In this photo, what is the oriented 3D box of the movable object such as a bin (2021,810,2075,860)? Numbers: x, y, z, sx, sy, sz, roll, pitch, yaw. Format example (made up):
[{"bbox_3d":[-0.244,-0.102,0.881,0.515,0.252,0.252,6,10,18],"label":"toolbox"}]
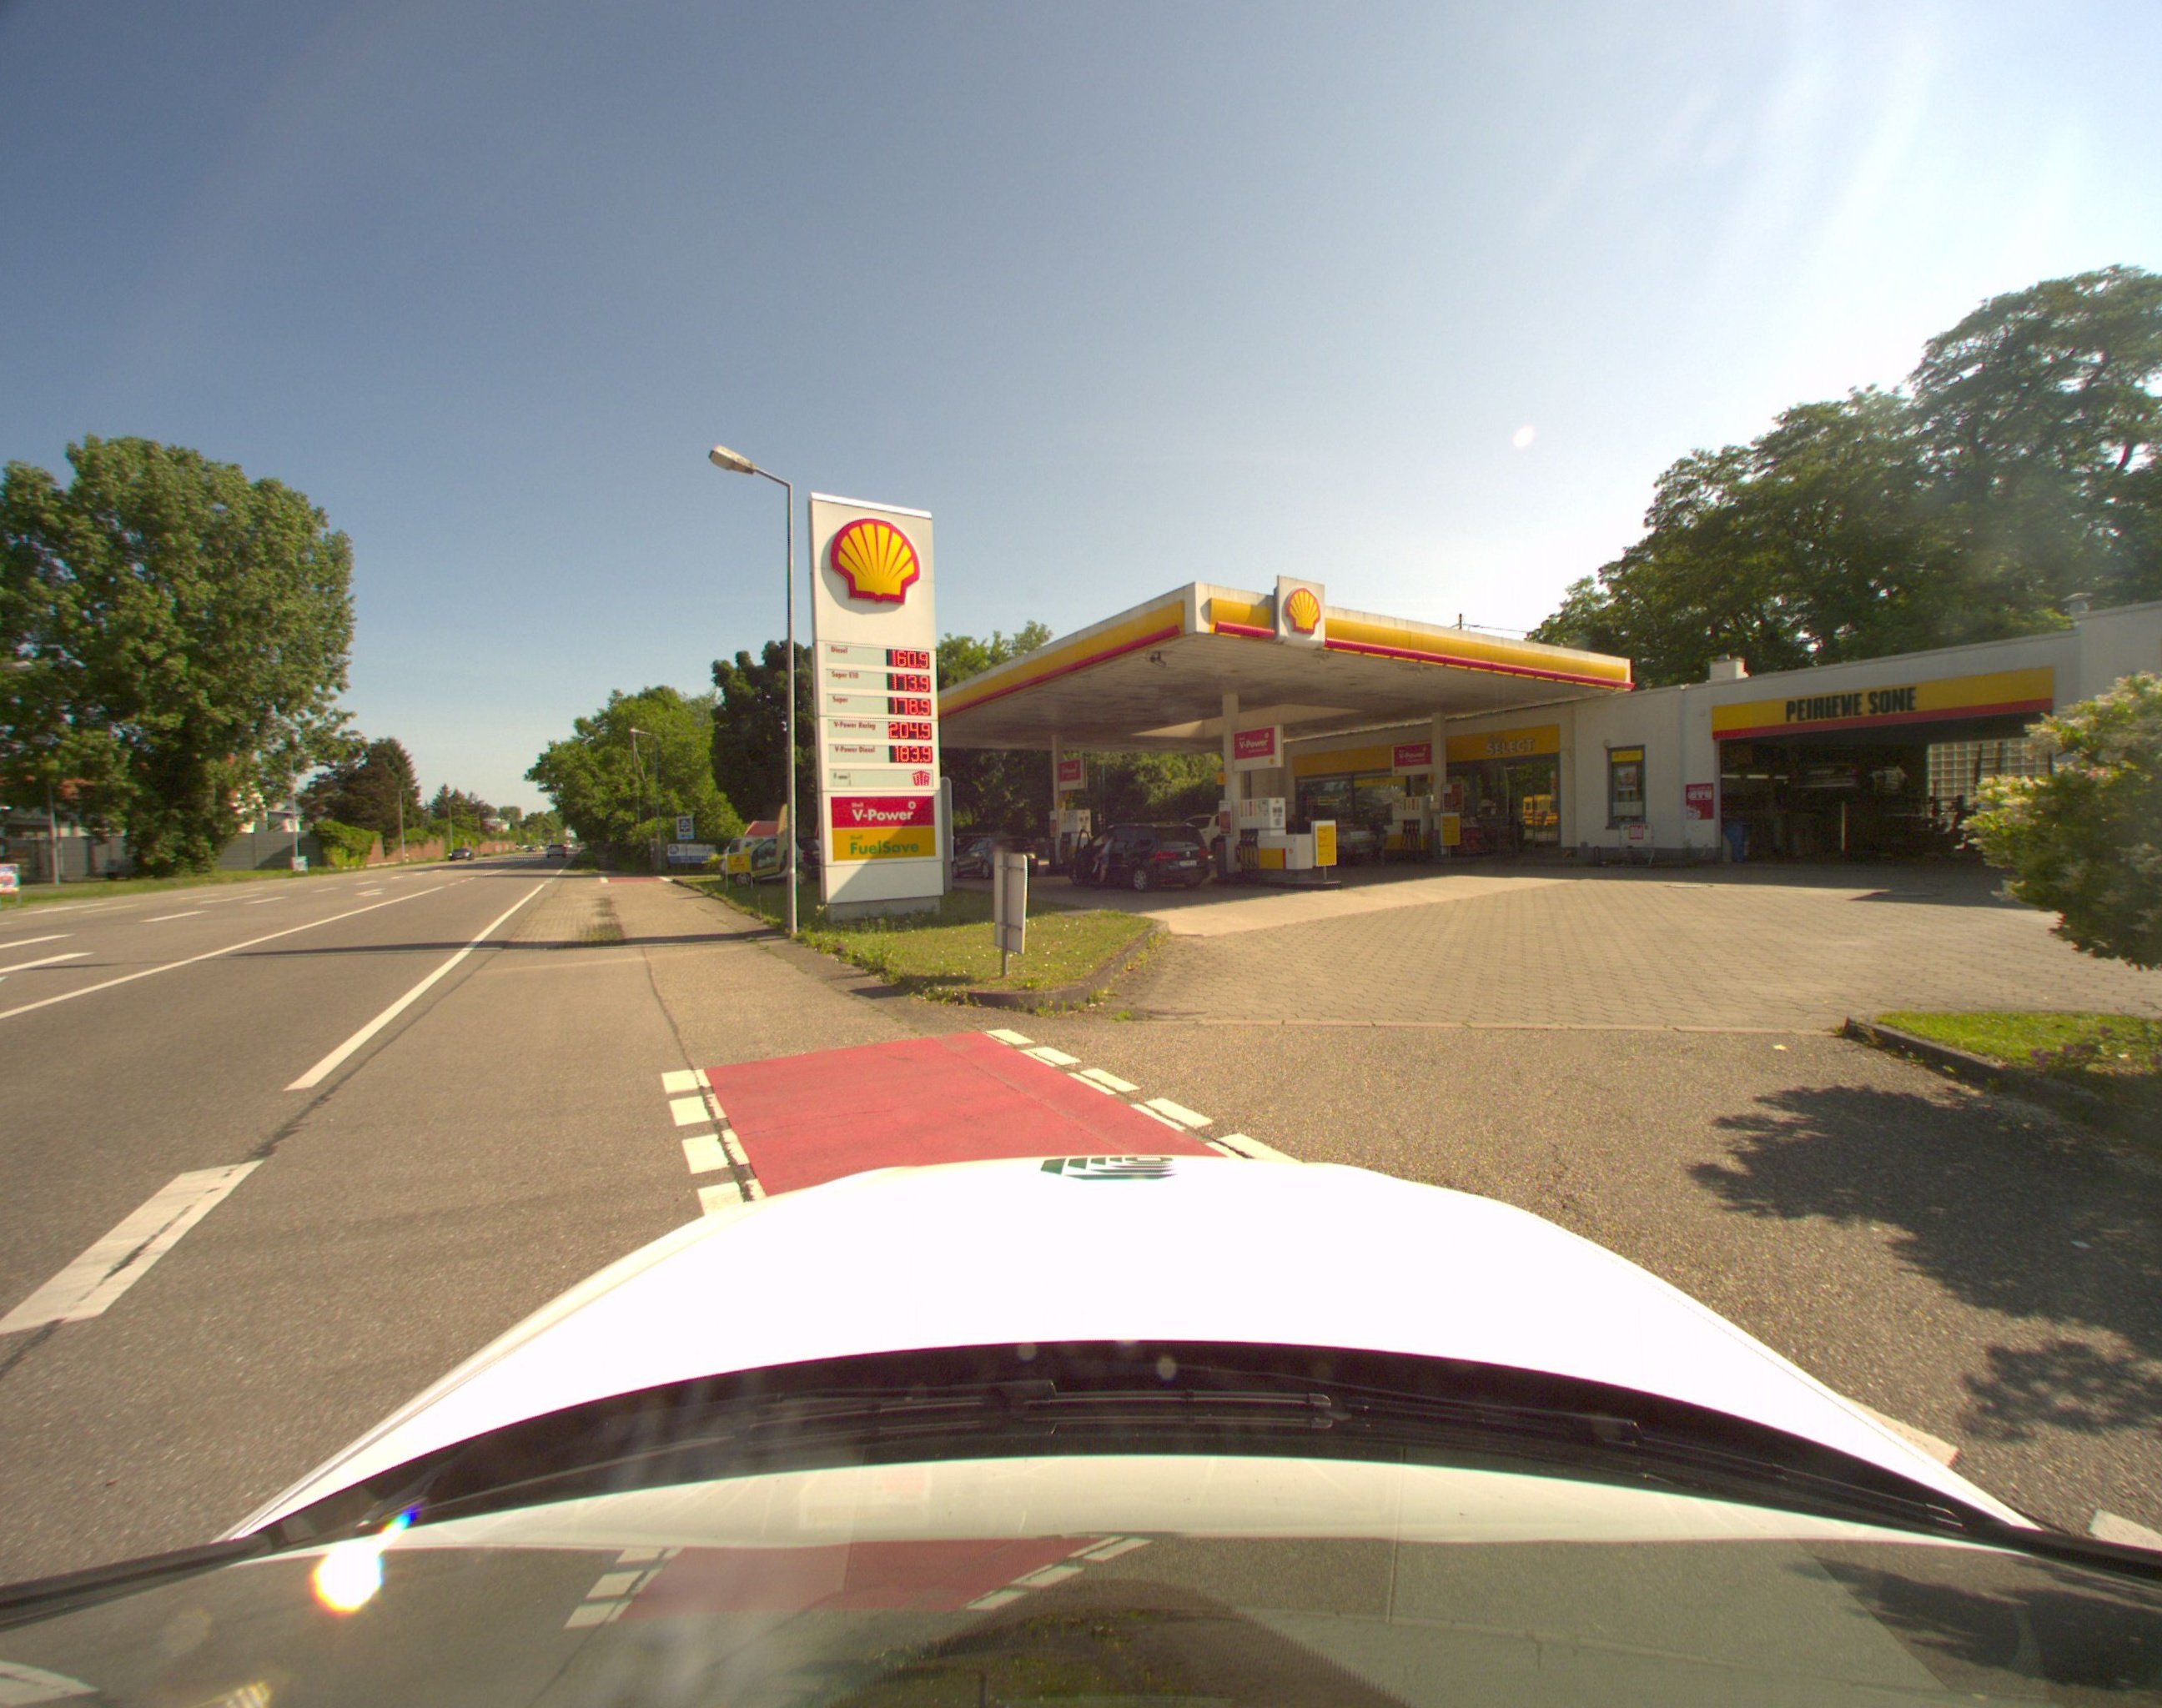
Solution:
[{"bbox_3d":[24.278,-0.478,20.454,0.546,1.236,0.792,-1,0,-29],"label":"movable object such as a bin"}]

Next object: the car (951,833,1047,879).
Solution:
[{"bbox_3d":[-2.810,0.015,27.199,1.808,1.360,3.813,-3,2,-28],"label":"car"}]

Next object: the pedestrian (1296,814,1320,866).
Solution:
[{"bbox_3d":[7.053,-0.439,25.342,0.502,1.593,0.471,-3,2,-28],"label":"pedestrian"}]

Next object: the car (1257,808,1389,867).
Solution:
[{"bbox_3d":[7.726,-0.521,26.338,1.838,1.727,3.964,-3,1,-27],"label":"car"}]

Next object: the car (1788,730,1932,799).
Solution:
[{"bbox_3d":[20.343,-2.255,21.242,4.011,1.486,1.636,-1,0,-30],"label":"car"}]

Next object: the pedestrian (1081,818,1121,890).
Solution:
[{"bbox_3d":[0.494,-0.011,20.213,0.675,1.729,0.806,-3,2,-24],"label":"pedestrian"}]

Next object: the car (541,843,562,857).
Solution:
[{"bbox_3d":[-61.266,-0.463,94.308,1.859,1.541,4.183,-1,0,-31],"label":"car"}]

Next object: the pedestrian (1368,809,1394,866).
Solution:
[{"bbox_3d":[9.043,-0.502,24.540,0.477,1.668,0.496,-3,2,-30],"label":"pedestrian"}]

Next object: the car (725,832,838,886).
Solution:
[{"bbox_3d":[-8.991,0.152,24.520,2.703,1.530,1.583,-2,0,13],"label":"car"}]

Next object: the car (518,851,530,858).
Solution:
[{"bbox_3d":[-125.469,0.119,183.509,1.859,1.541,4.183,-1,0,-31],"label":"car"}]

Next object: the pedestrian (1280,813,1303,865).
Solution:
[{"bbox_3d":[6.741,-0.476,26.081,0.502,1.631,0.471,-3,2,-28],"label":"pedestrian"}]

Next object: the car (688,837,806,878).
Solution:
[{"bbox_3d":[-13.135,0.093,32.147,4.019,1.530,1.568,-1,0,-38],"label":"car"}]

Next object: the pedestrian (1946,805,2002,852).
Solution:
[{"bbox_3d":[23.316,-0.662,21.269,0.746,1.198,0.857,-1,0,-32],"label":"pedestrian"}]

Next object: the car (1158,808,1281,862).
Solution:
[{"bbox_3d":[5.137,-0.714,30.880,1.864,1.837,4.732,-3,2,-32],"label":"car"}]

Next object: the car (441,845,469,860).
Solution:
[{"bbox_3d":[-70.629,-0.188,91.993,1.859,1.495,4.863,-5,3,-31],"label":"car"}]

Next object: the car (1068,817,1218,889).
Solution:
[{"bbox_3d":[1.448,-0.058,20.370,1.772,1.578,3.838,-3,2,-33],"label":"car"}]
